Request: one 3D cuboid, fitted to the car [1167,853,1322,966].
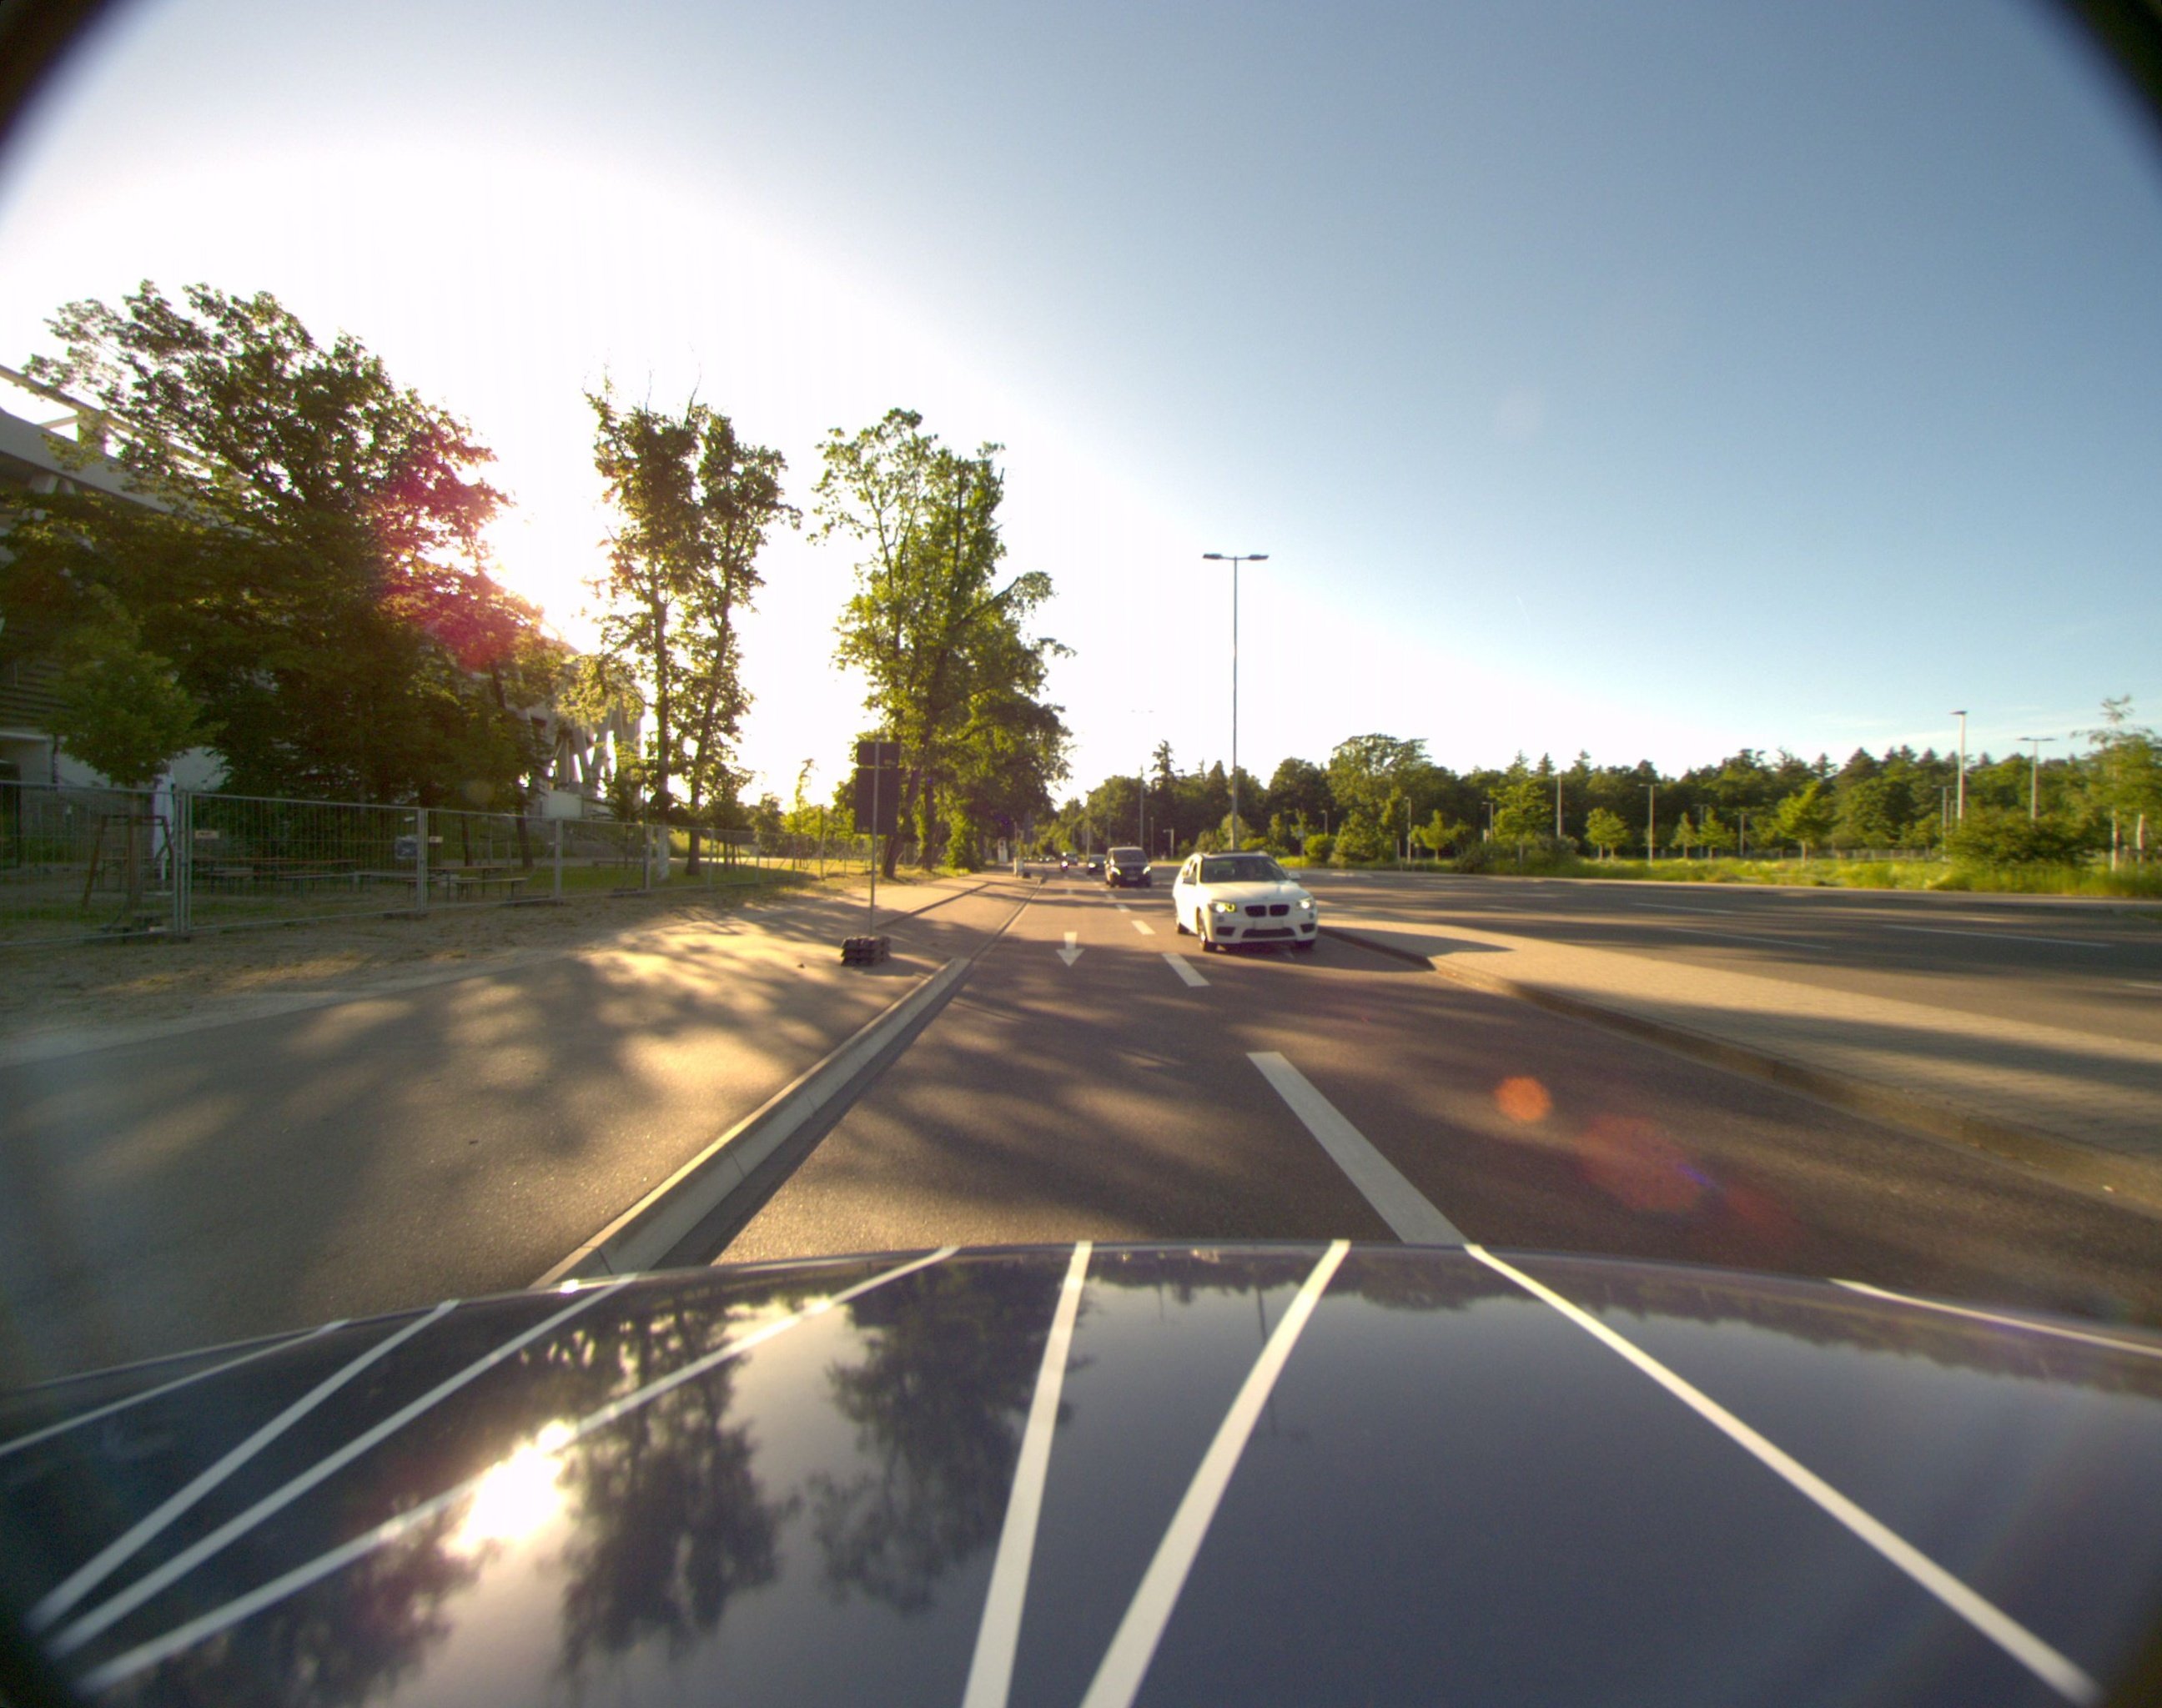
[{"bbox_3d":[2.610,0.810,13.156,1.723,1.571,4.434,-2,0,1],"label":"car"}]

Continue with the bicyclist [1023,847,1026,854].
[{"bbox_3d":[-10.733,-0.698,144.559,0.451,1.412,0.575,0,1,0],"label":"bicyclist"}]

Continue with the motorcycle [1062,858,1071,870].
[{"bbox_3d":[-1.346,0.906,72.267,0.717,1.058,2.721,-2,0,1],"label":"motorcycle"}]

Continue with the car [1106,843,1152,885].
[{"bbox_3d":[2.271,0.549,36.900,1.912,1.844,4.875,-2,-2,1],"label":"car"}]

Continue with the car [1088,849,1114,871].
[{"bbox_3d":[1.548,0.447,60.324,1.883,1.528,3.999,-2,1,0],"label":"car"}]

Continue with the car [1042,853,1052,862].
[{"bbox_3d":[-7.146,0.742,159.804,1.883,1.629,5.048,-2,0,0],"label":"car"}]

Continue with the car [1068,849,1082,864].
[{"bbox_3d":[-0.811,0.369,109.673,1.883,1.951,5.048,-2,0,0],"label":"car"}]

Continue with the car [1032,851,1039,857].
[{"bbox_3d":[-14.260,0.052,237.989,1.774,1.849,3.999,-2,1,1],"label":"car"}]

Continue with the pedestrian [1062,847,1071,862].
[{"bbox_3d":[-1.384,0.027,72.406,0.739,1.387,0.500,-2,1,1],"label":"pedestrian"}]

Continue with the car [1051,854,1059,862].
[{"bbox_3d":[-6.354,1.053,188.487,1.675,1.827,3.982,-2,1,1],"label":"car"}]

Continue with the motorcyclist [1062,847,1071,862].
[{"bbox_3d":[-1.364,0.043,71.896,0.822,1.367,0.476,-2,1,1],"label":"motorcyclist"}]
